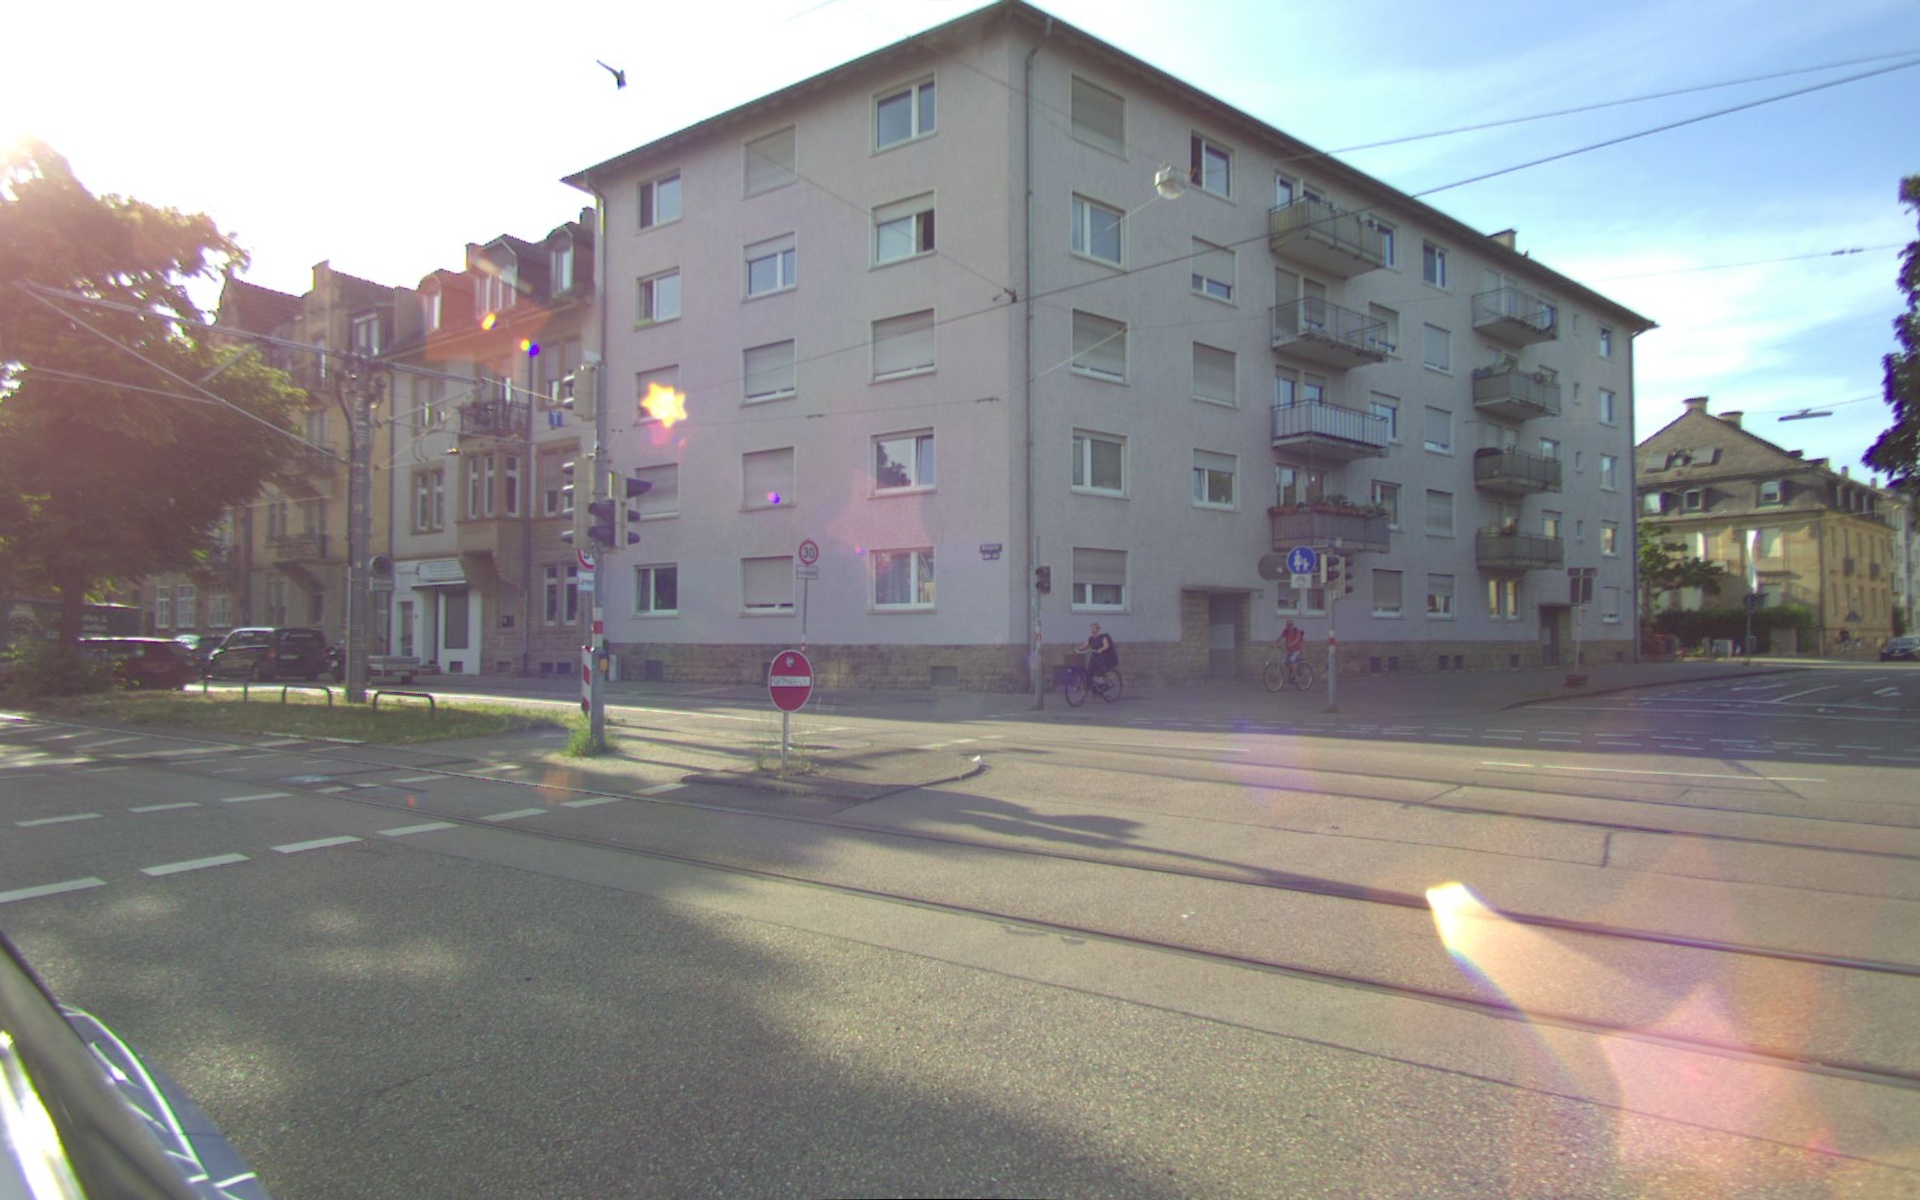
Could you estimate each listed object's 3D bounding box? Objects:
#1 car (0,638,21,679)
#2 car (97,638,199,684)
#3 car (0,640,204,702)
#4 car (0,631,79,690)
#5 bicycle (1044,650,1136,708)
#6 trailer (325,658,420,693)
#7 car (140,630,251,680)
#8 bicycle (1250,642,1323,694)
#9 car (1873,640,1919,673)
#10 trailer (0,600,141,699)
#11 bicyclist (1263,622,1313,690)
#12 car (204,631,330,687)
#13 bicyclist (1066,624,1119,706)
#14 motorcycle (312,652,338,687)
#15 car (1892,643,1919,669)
[{"bbox_3d":[-34.749,2.029,33.886,4.530,1.392,1.707,-1,-2,-22],"label":"car"},{"bbox_3d":[-33.659,2.483,41.926,4.600,1.763,2.146,-2,-2,35],"label":"car"},{"bbox_3d":[-20.581,1.650,24.047,3.884,1.370,1.678,1,-2,-22],"label":"car"},{"bbox_3d":[-29.803,1.806,30.307,4.638,1.703,2.178,0,-2,-15],"label":"car"},{"bbox_3d":[2.719,1.631,21.146,1.885,1.119,0.737,0,-3,-36],"label":"bicycle"},{"bbox_3d":[-18.573,2.370,31.972,2.871,0.903,1.429,-2,3,34],"label":"trailer"},{"bbox_3d":[-29.436,2.095,38.927,4.600,1.763,2.146,-2,-2,35],"label":"car"},{"bbox_3d":[8.240,1.696,25.503,1.948,1.212,0.737,0,-2,-36],"label":"bicycle"},{"bbox_3d":[54.227,3.224,58.362,3.940,1.738,2.001,0,-2,-44],"label":"car"},{"bbox_3d":[-23.142,1.249,26.076,2.816,2.410,1.728,0,-2,-25],"label":"trailer"},{"bbox_3d":[8.254,1.403,25.478,0.840,1.655,0.816,0,-2,-37],"label":"bicyclist"},{"bbox_3d":[-24.051,2.016,35.063,4.707,1.763,2.146,-2,-2,35],"label":"car"},{"bbox_3d":[2.768,1.343,21.162,0.761,1.655,0.796,2,-2,-37],"label":"bicyclist"},{"bbox_3d":[-20.709,2.254,32.998,0.627,1.088,1.738,0,-2,-35],"label":"motorcycle"},{"bbox_3d":[58.304,3.416,61.630,3.940,1.431,2.001,0,-2,-44],"label":"car"}]
